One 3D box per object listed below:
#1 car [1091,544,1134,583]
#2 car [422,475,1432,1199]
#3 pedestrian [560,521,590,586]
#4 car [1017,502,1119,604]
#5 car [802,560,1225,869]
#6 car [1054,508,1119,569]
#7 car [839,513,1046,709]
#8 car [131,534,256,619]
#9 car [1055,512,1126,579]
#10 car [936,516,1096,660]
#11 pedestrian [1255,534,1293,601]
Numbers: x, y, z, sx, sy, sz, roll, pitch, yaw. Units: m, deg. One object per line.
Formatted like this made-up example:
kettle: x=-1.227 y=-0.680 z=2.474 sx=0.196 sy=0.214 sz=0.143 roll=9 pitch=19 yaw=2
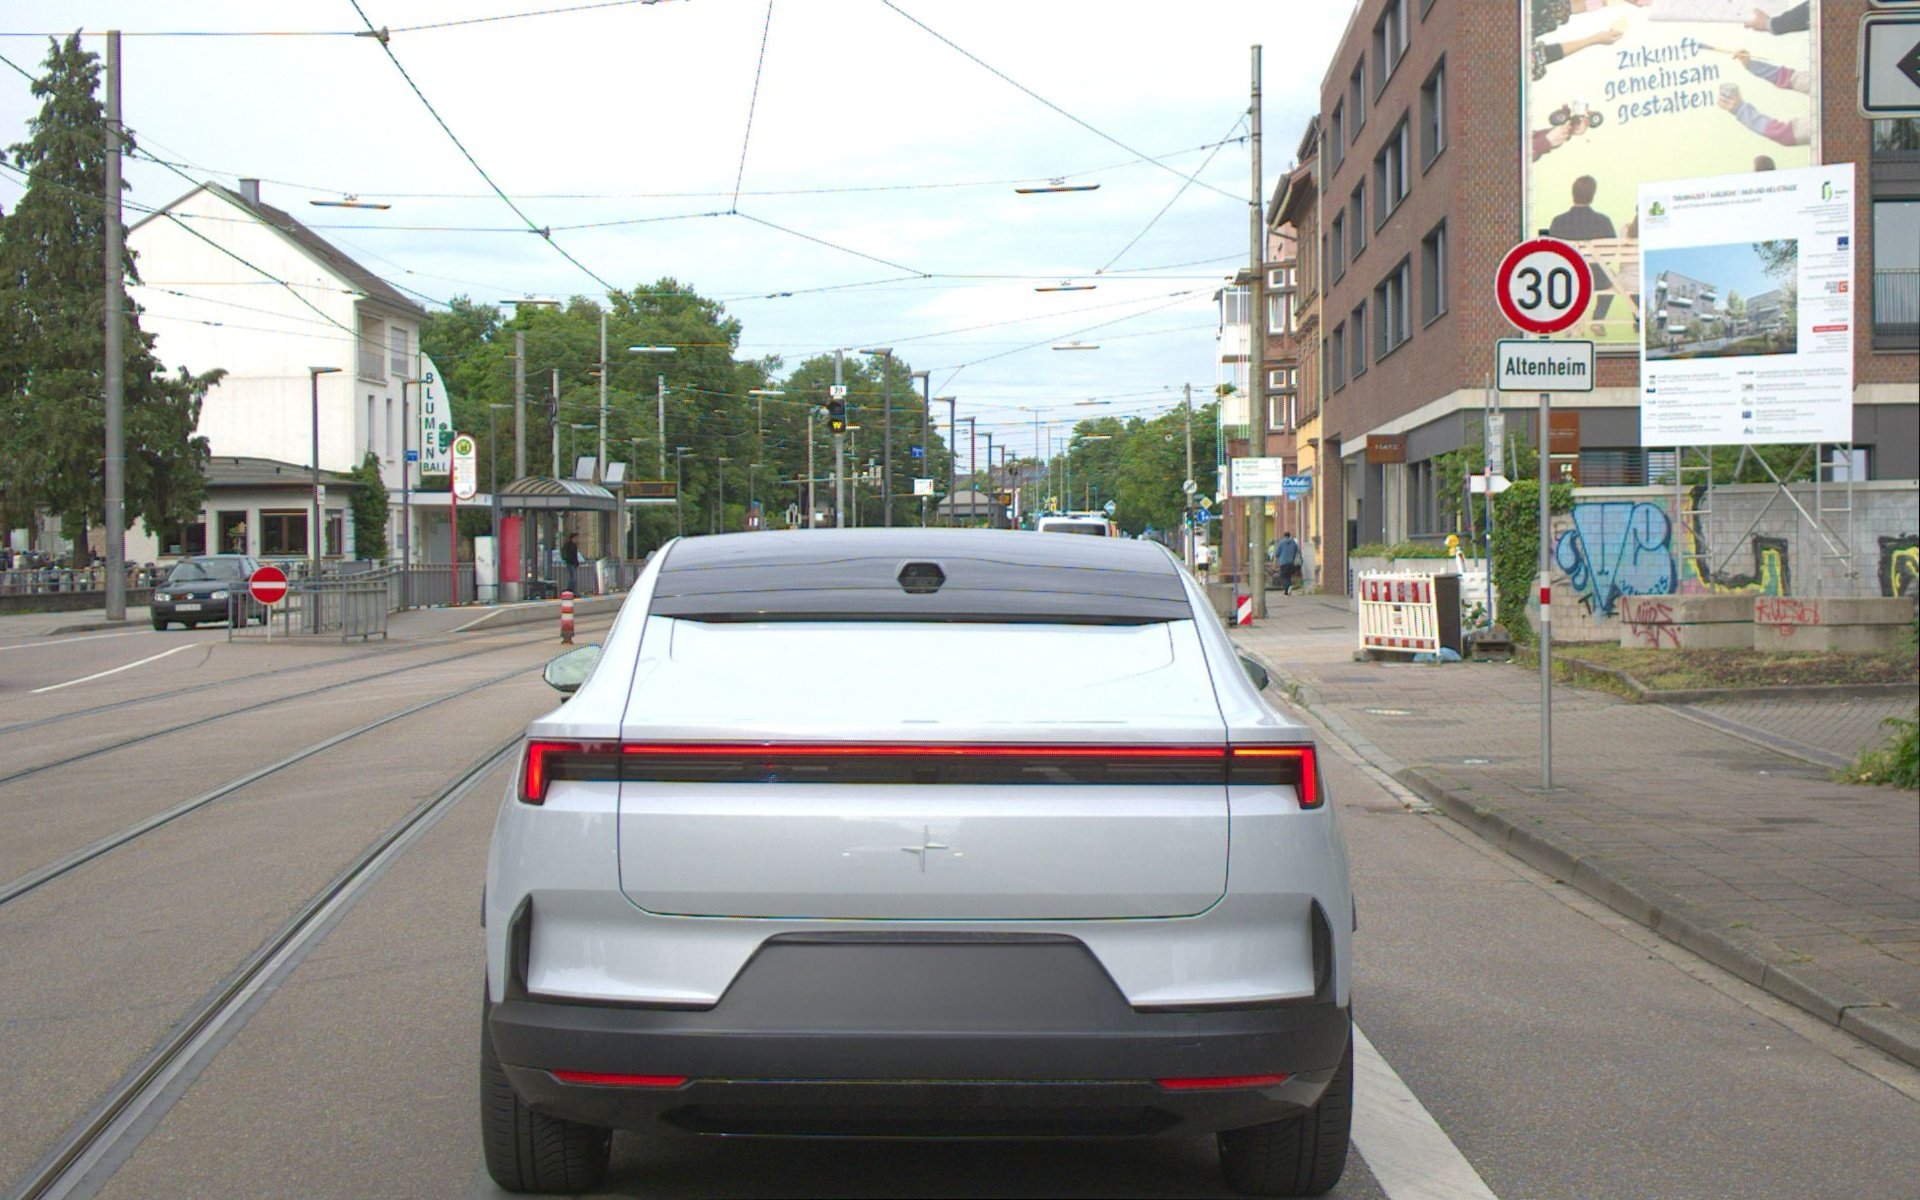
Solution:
car: x=7.963 y=-1.916 z=180.088 sx=1.993 sy=2.007 sz=4.000 roll=1 pitch=1 yaw=-1
car: x=-0.124 y=0.534 z=8.869 sx=1.999 sy=1.575 sz=4.000 roll=1 pitch=0 yaw=-2
pedestrian: x=-9.828 y=-1.188 z=87.661 sx=0.615 sy=1.659 sz=0.697 roll=1 pitch=0 yaw=5
car: x=2.600 y=-1.146 z=84.043 sx=2.226 sy=2.394 sz=5.123 roll=1 pitch=1 yaw=-1
car: x=0.305 y=0.523 z=18.374 sx=1.993 sy=1.415 sz=4.000 roll=-1 pitch=1 yaw=1
car: x=4.255 y=-2.062 z=116.513 sx=1.993 sy=2.007 sz=4.000 roll=1 pitch=1 yaw=-1
car: x=-0.107 y=0.077 z=31.783 sx=1.681 sy=1.682 sz=3.823 roll=1 pitch=1 yaw=3
car: x=-14.786 y=-0.458 z=66.495 sx=1.790 sy=1.525 sz=4.142 roll=-2 pitch=1 yaw=-5
car: x=4.033 y=-1.692 z=106.769 sx=1.993 sy=2.007 sz=4.000 roll=1 pitch=1 yaw=-1
car: x=0.694 y=-0.189 z=45.673 sx=1.993 sy=1.809 sz=4.000 roll=-1 pitch=1 yaw=-1
pedestrian: x=9.011 y=-0.940 z=98.551 sx=0.961 sy=1.843 sz=0.975 roll=-2 pitch=1 yaw=9
